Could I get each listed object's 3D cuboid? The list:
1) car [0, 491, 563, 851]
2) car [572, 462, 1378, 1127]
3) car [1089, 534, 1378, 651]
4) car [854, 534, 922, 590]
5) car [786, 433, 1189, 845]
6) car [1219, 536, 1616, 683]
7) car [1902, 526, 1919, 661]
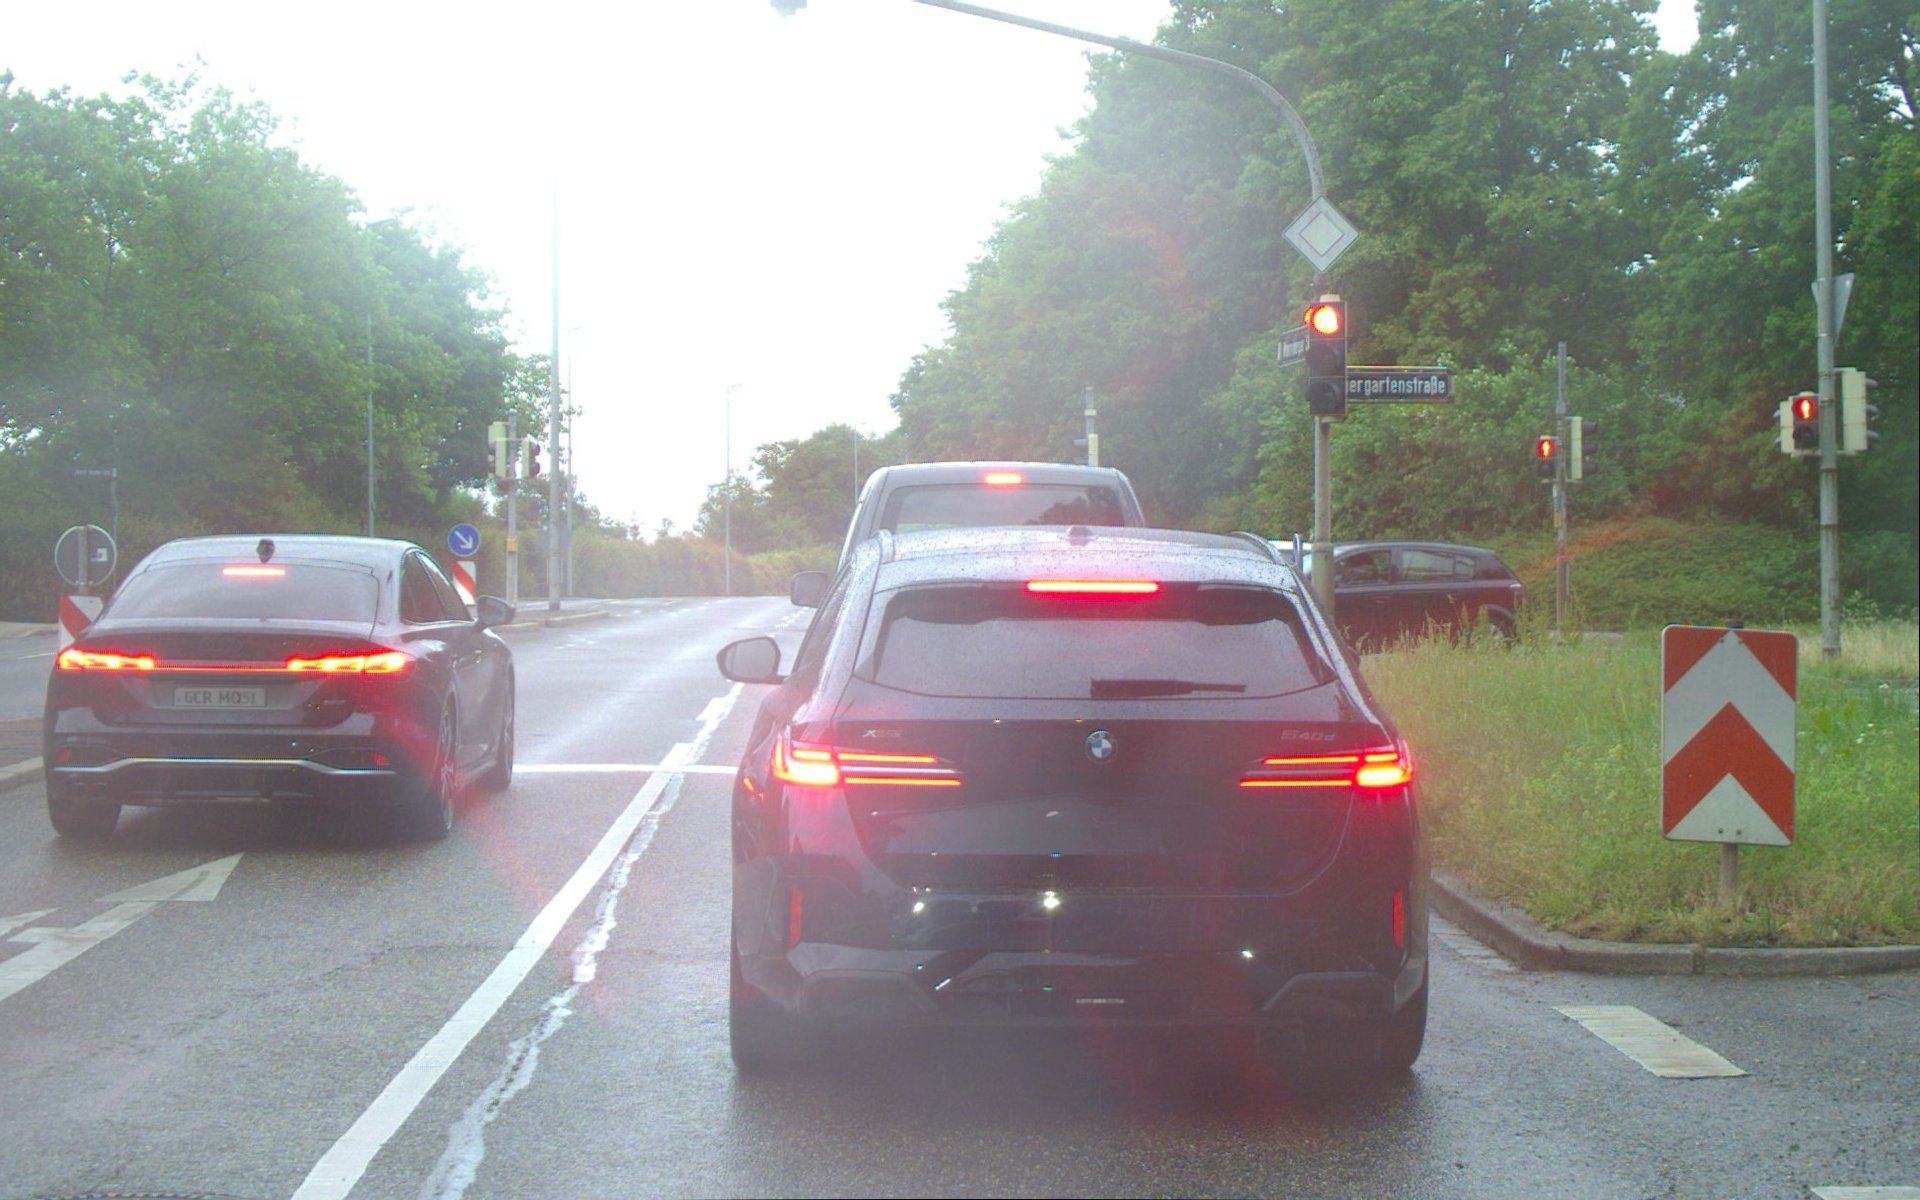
[{"bbox_3d":[-3.253,0.282,17.209,1.993,1.522,4.328,-2,1,0],"label":"car"},{"bbox_3d":[0.148,0.455,10.523,1.898,1.546,4.614,1,0,3],"label":"car"},{"bbox_3d":[3.590,-0.104,44.935,3.504,1.422,1.702,-1,1,14],"label":"car"},{"bbox_3d":[-2.209,-1.178,106.238,1.993,1.618,3.952,-2,1,0],"label":"car"},{"bbox_3d":[0.122,0.153,17.734,1.818,1.862,3.952,1,1,0],"label":"car"},{"bbox_3d":[5.067,0.078,38.375,3.986,1.504,1.902,-1,1,-9],"label":"car"},{"bbox_3d":[13.397,-0.127,40.568,4.017,1.596,1.749,-2,1,-10],"label":"car"}]
